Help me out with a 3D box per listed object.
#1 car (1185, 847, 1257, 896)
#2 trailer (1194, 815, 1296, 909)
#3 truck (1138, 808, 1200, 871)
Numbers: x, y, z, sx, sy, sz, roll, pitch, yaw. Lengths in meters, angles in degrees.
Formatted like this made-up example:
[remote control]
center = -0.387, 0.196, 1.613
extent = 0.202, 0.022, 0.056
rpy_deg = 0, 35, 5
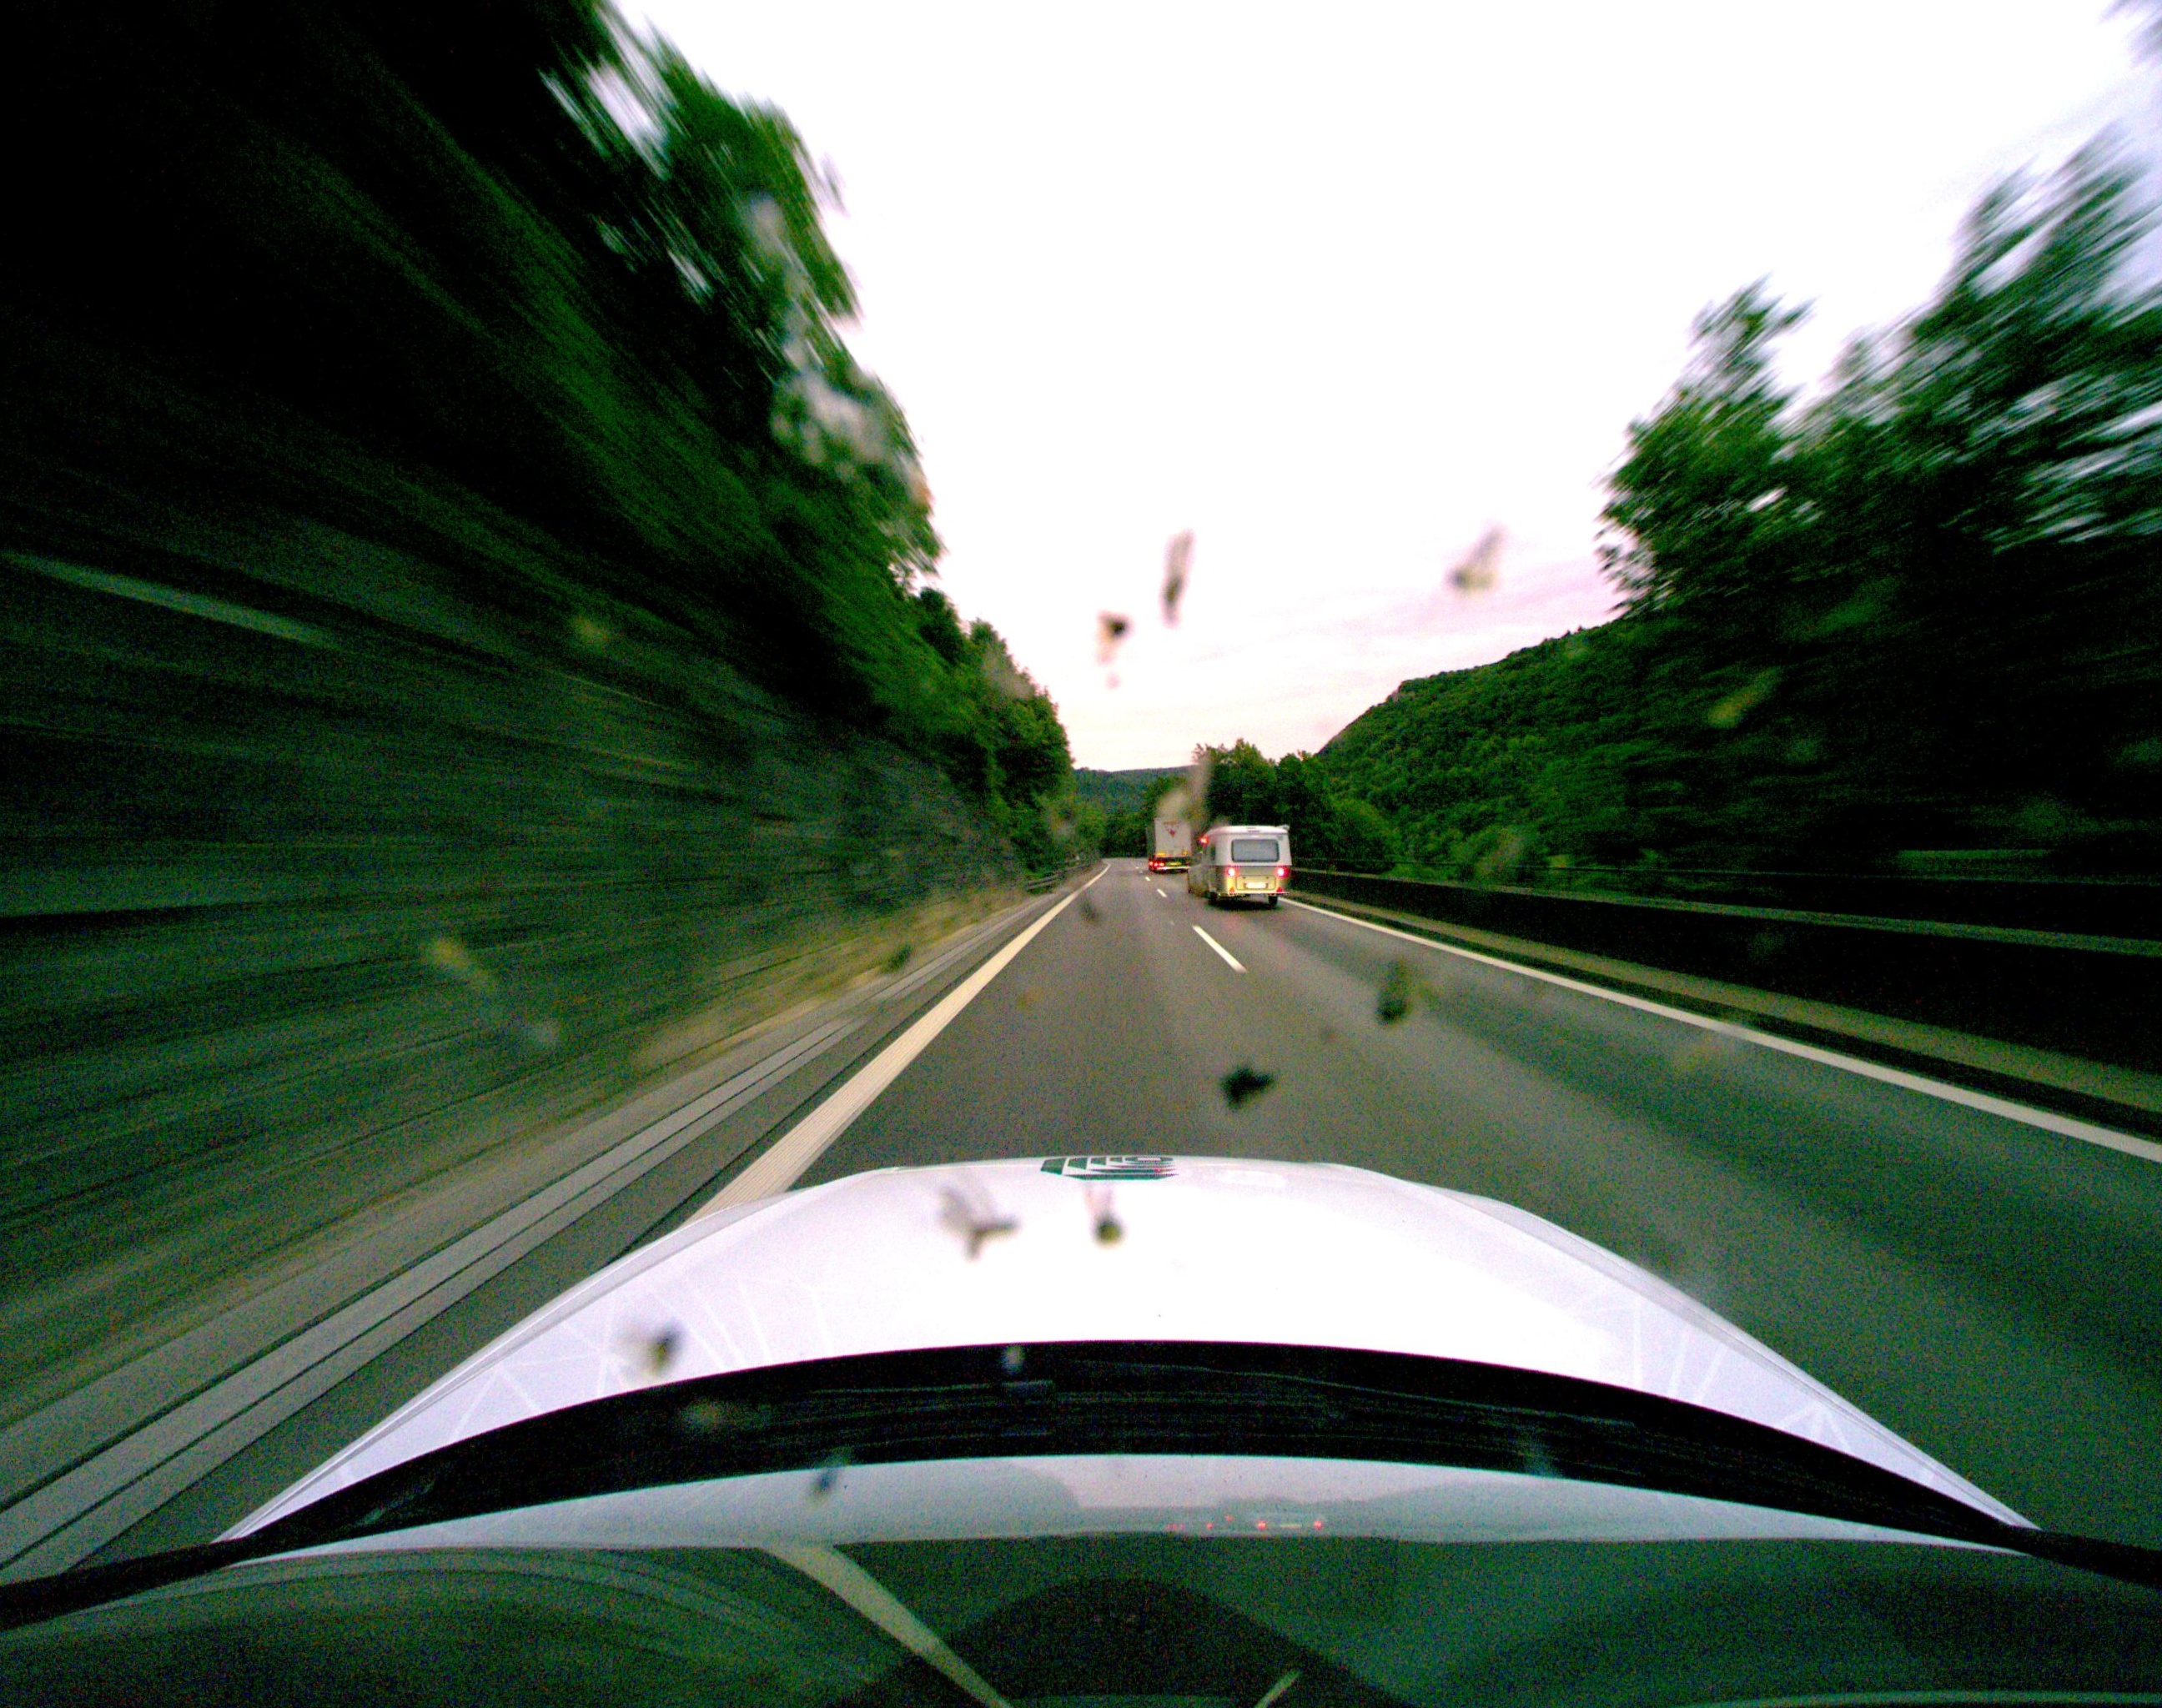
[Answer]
[car]
center = 4.956, 0.585, 29.446
extent = 1.985, 1.614, 4.868
rpy_deg = 0, 0, 3
[trailer]
center = 4.693, 0.210, 24.235
extent = 2.046, 2.375, 5.942
rpy_deg = -2, 0, 3
[truck]
center = 6.563, -0.963, 63.863
extent = 3.283, 4.173, 16.506
rpy_deg = -3, 0, 1
